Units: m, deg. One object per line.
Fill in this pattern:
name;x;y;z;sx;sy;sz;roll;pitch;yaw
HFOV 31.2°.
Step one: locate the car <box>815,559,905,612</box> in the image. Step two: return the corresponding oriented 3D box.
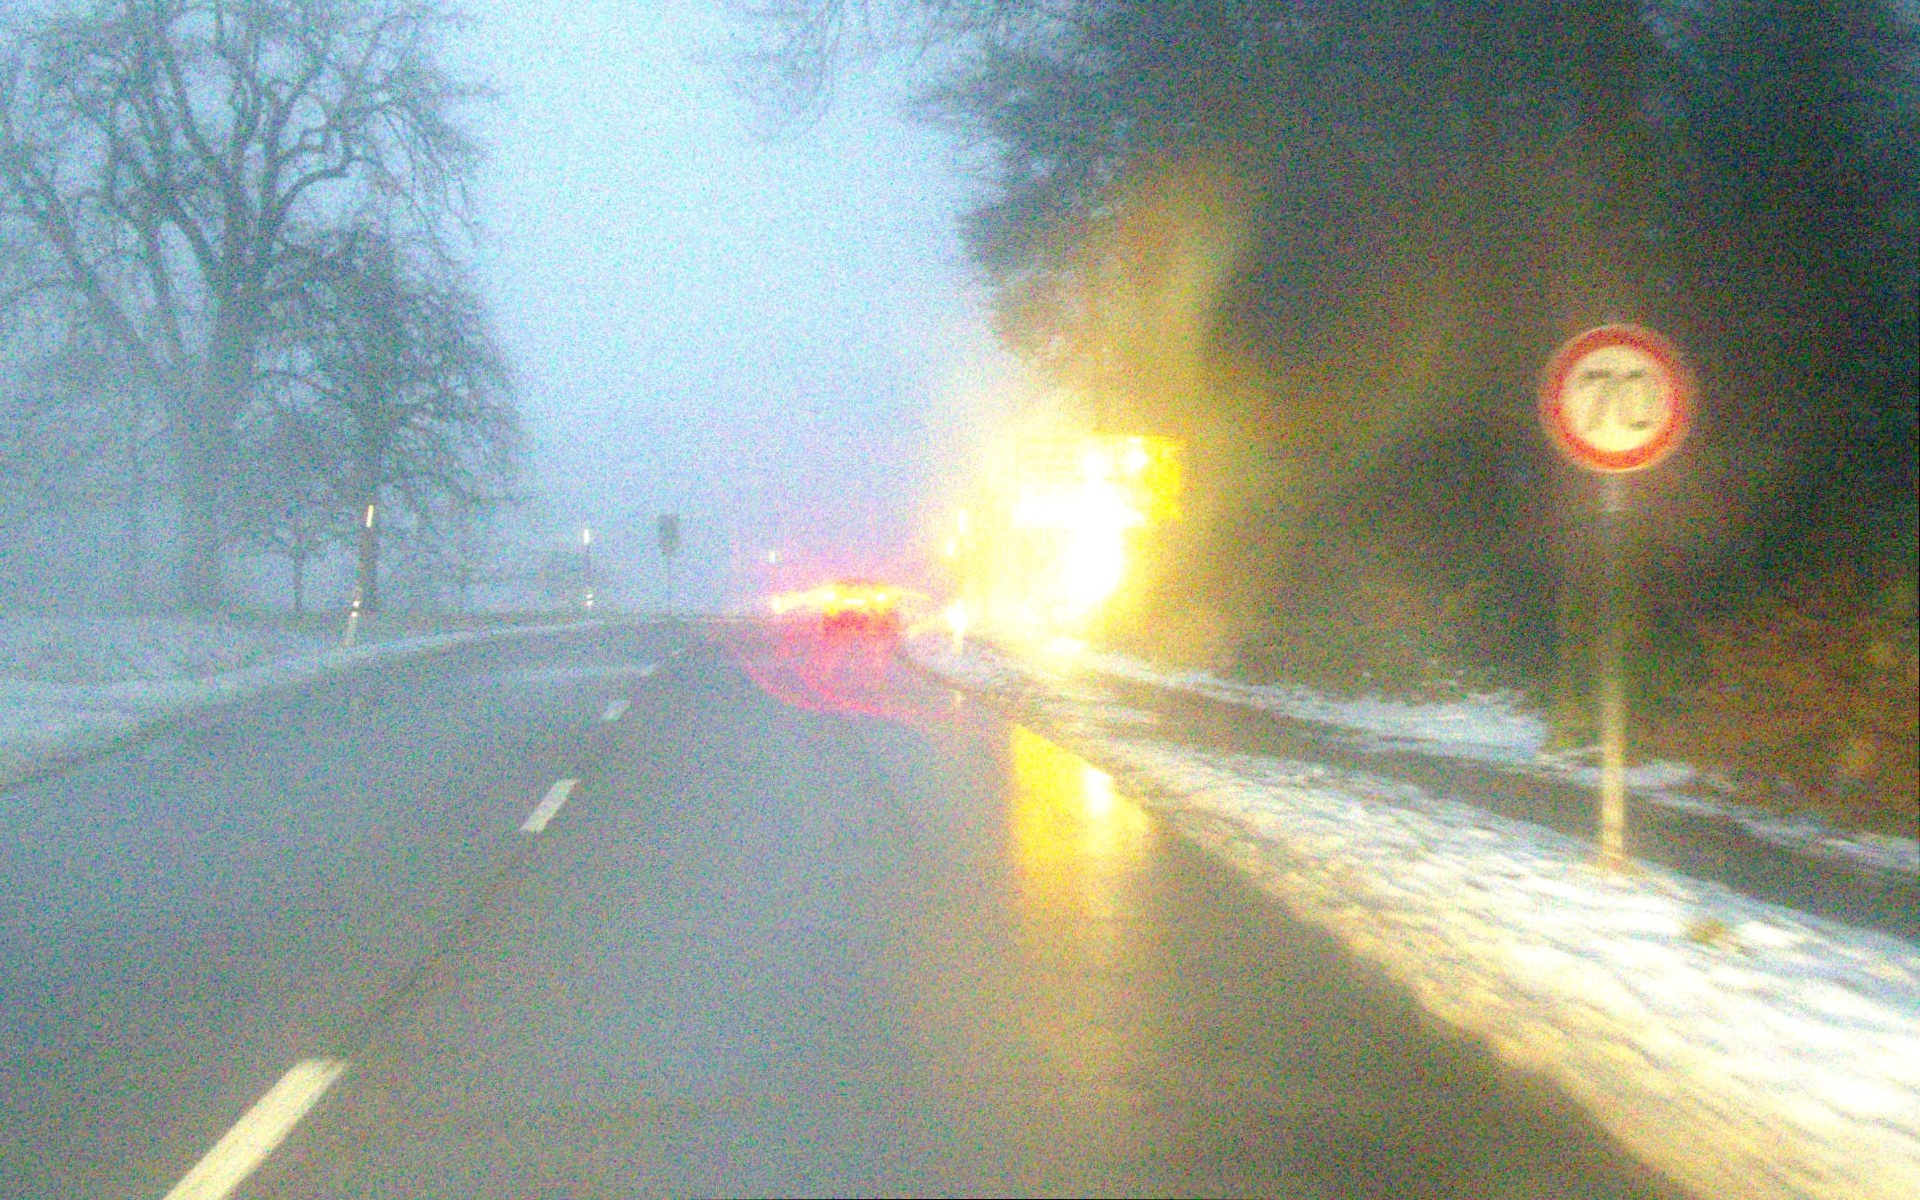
car;-2.543;-0.390;88.347;1.922;1.272;4.000;0;1;4
